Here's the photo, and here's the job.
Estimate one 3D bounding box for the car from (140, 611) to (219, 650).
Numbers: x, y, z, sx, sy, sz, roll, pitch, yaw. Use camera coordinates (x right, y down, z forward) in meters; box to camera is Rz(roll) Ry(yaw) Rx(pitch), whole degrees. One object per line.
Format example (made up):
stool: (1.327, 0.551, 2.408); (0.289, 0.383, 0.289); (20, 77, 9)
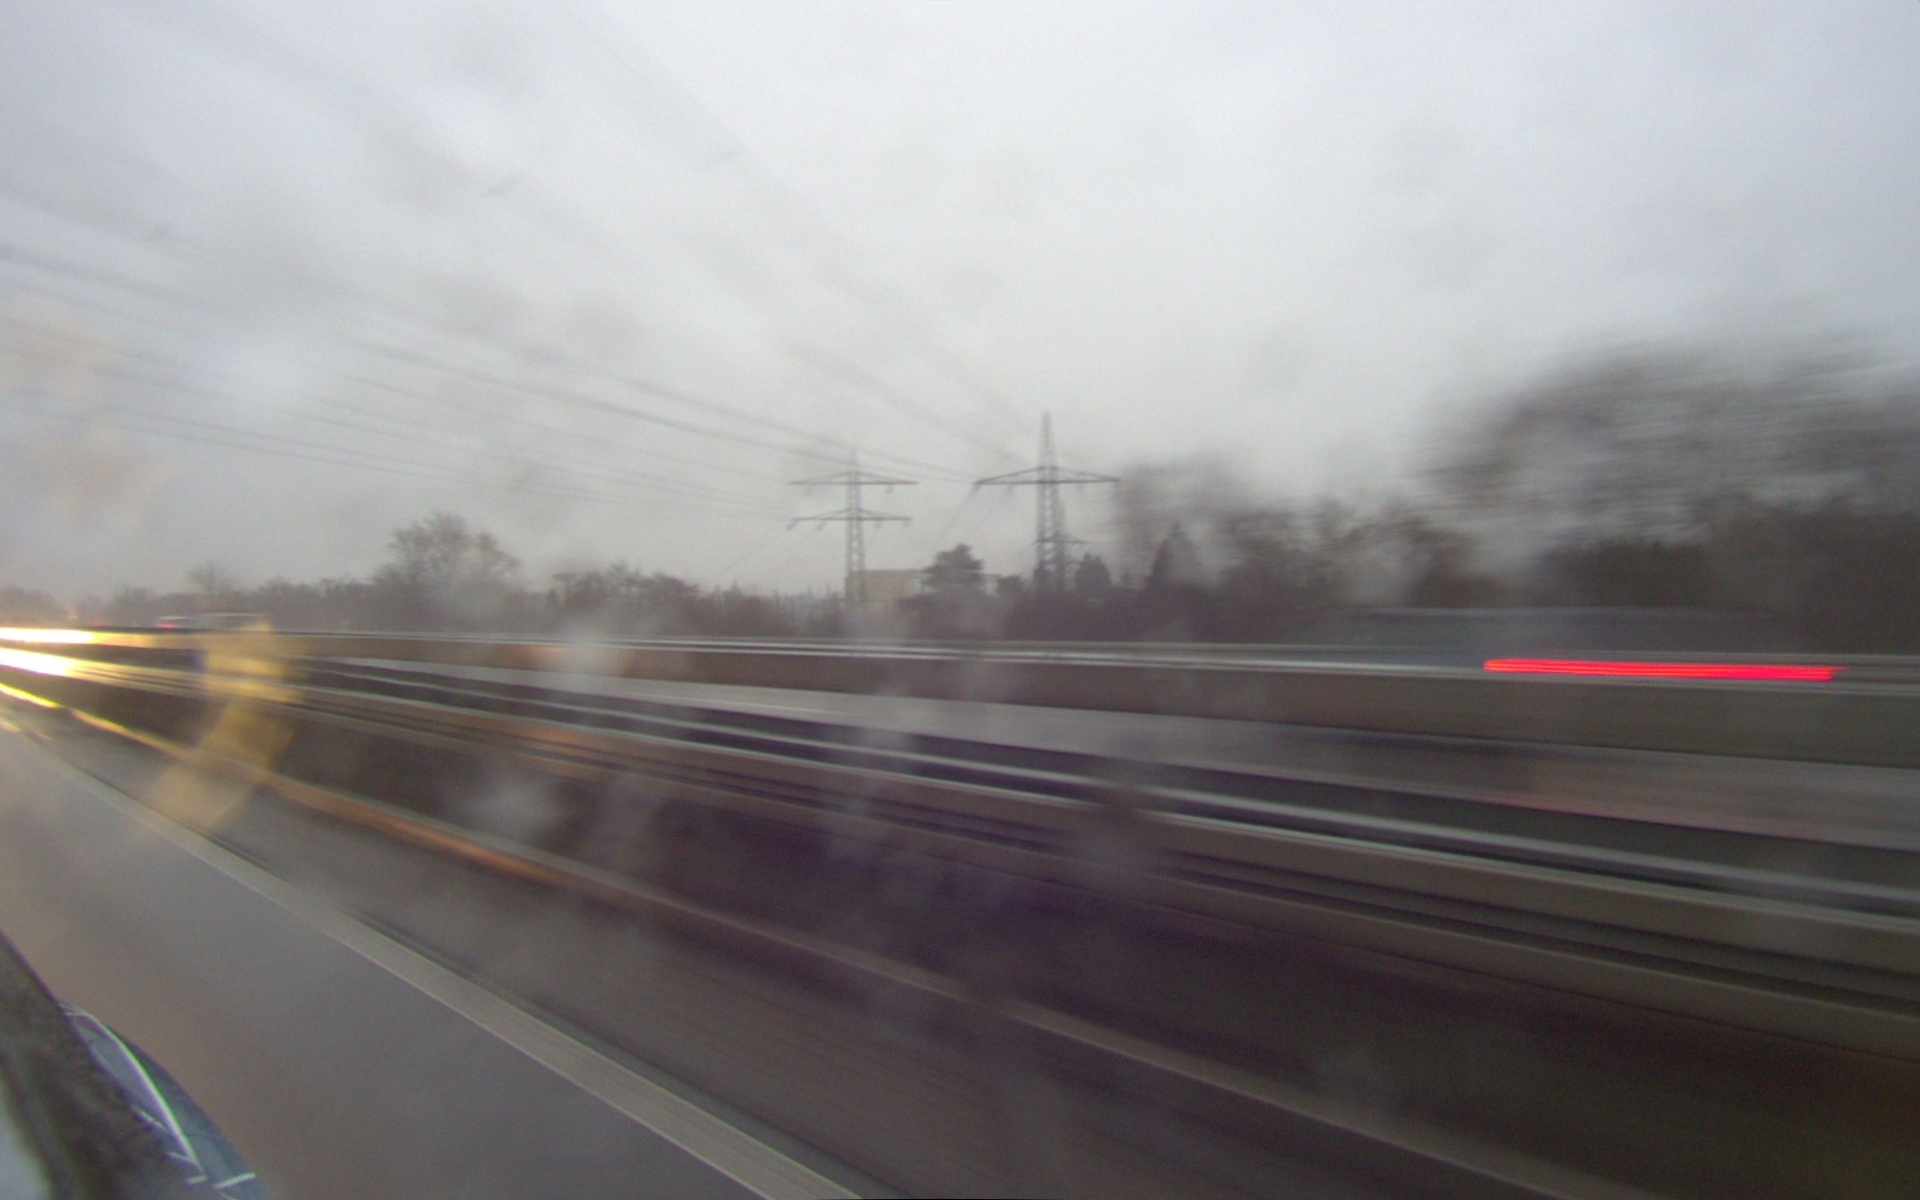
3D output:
car: (-37.540, 1.456, 48.658); (4.807, 1.805, 2.141); (-2, -2, 41)

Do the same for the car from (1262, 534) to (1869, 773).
car: (5.740, 0.465, 10.053); (4.807, 1.805, 2.141); (-2, -2, 41)

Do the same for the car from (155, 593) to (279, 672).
car: (-20.657, 0.874, 28.081); (3.998, 2.029, 1.973); (-1, -2, 41)
